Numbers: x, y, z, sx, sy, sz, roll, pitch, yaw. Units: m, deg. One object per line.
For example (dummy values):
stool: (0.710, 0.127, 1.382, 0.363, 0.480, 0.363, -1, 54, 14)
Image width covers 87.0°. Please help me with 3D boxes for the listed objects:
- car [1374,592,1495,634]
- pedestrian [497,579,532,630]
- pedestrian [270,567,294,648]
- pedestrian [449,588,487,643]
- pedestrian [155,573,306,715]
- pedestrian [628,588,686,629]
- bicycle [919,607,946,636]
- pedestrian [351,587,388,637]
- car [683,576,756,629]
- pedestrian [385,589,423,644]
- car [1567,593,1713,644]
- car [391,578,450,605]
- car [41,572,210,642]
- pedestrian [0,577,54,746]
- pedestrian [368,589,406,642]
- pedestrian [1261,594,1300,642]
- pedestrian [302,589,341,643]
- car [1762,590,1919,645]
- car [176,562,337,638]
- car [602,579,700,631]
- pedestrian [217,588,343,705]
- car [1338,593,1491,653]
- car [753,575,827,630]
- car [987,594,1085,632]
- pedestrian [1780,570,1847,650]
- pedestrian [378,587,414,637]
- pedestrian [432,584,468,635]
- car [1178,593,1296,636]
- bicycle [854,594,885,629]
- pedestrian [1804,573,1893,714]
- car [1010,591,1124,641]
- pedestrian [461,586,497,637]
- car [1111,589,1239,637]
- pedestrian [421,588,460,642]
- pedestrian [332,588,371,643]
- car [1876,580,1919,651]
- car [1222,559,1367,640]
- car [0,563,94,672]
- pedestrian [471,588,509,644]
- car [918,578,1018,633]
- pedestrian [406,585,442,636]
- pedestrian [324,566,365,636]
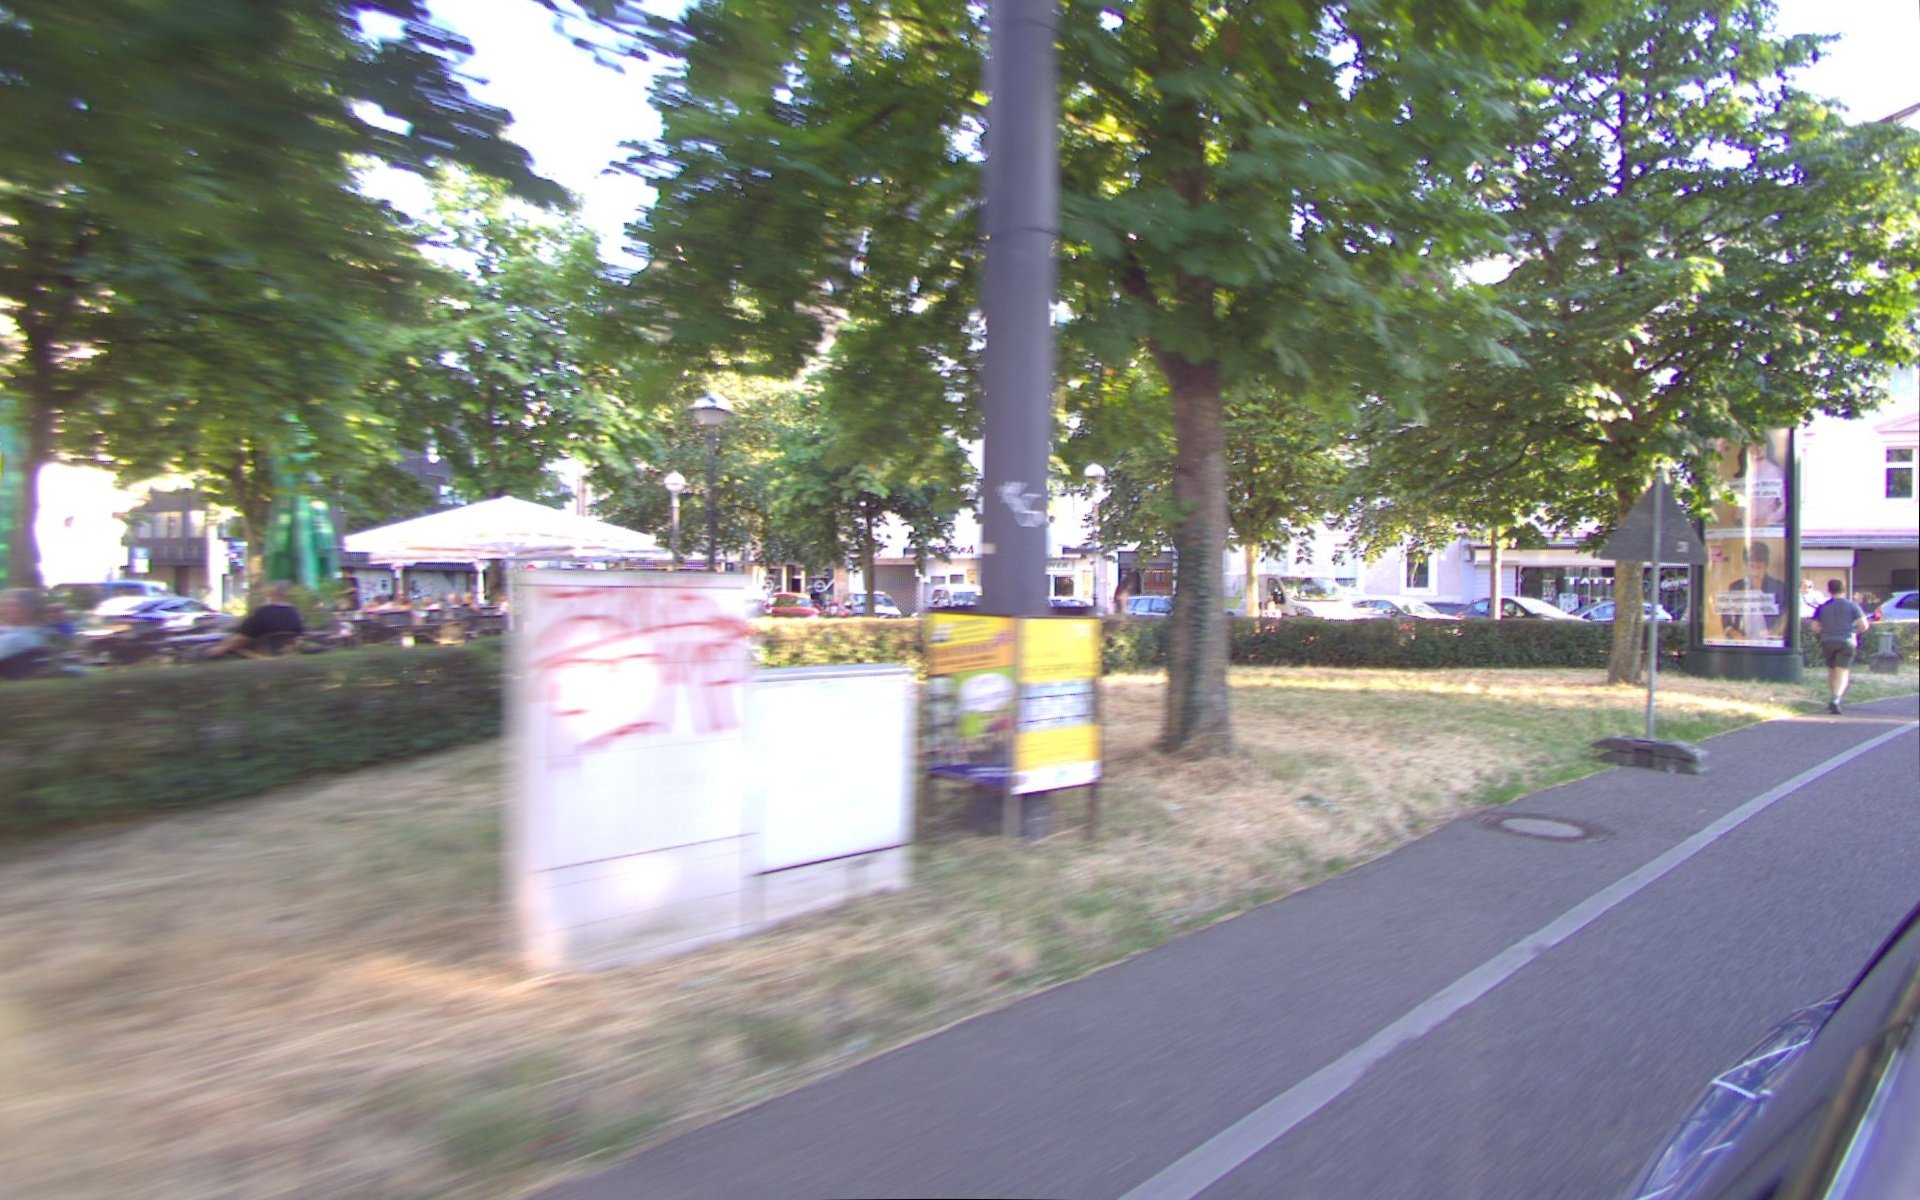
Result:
car: (18.186, 0.477, 38.969, 3.944, 1.511, 1.817, 0, 2, 17)
pedestrian: (-9.888, 0.098, 22.461, 0.486, 1.131, 0.555, 0, 0, 13)
pedestrian: (-14.384, 0.148, 21.469, 0.382, 1.706, 0.329, 0, 0, -41)
pedestrian: (-10.224, 0.314, 21.049, 0.486, 1.131, 0.555, 0, 0, 13)
pedestrian: (-7.348, 0.419, 10.225, 0.998, 1.372, 0.731, 0, 1, 6)
pedestrian: (-9.614, 0.254, 32.112, 1.030, 1.266, 1.430, 0, 0, 45)
bicycle: (-0.776, 0.611, 29.005, 0.440, 0.789, 1.269, 0, 1, 15)
pedestrian: (-13.514, 0.266, 23.155, 0.486, 1.131, 0.555, 0, 0, 13)
car: (-8.564, 0.081, 36.355, 1.875, 1.796, 4.002, 0, 0, -3)
pedestrian: (-11.579, 0.336, 21.084, 0.451, 1.131, 0.555, 0, 0, 13)
car: (24.668, 0.629, 36.889, 3.947, 1.660, 1.989, 0, 3, 18)
car: (-30.635, -0.491, 57.549, 1.847, 1.439, 3.557, 0, 1, -8)
car: (-25.615, 0.187, 31.306, 1.982, 1.988, 4.518, 0, 0, -8)
pedestrian: (-7.451, 0.451, 7.703, 0.601, 1.260, 0.568, 0, 0, 3)
pedestrian: (-12.222, 0.323, 21.587, 0.451, 1.131, 0.555, 0, 0, 13)
pedestrian: (8.576, 0.473, 27.022, 0.949, 1.241, 1.362, 0, 0, 19)
pedestrian: (-13.520, 0.329, 21.436, 0.451, 1.131, 0.529, 0, 0, 13)
car: (30.760, 0.567, 35.070, 4.171, 1.806, 1.923, 0, 1, 17)
car: (-20.192, -0.012, 29.324, 1.960, 2.039, 4.442, 0, 0, -6)
car: (-11.328, 0.179, 37.416, 1.882, 1.796, 3.988, 0, 0, 10)
pedestrian: (-7.599, 0.531, 11.332, 0.935, 1.259, 0.661, -1, -4, 6)
car: (13.097, 0.623, 29.433, 1.911, 1.624, 4.008, 0, 0, -17)
car: (-6.004, 0.095, 35.384, 1.872, 1.796, 4.008, 0, 0, -20)
car: (3.310, 0.520, 43.973, 3.947, 1.514, 1.942, 0, 2, 18)
pedestrian: (19.103, 0.220, 22.649, 0.957, 1.753, 0.728, 0, -1, -16)
pedestrian: (-12.840, 0.272, 23.046, 0.486, 1.131, 0.555, 0, 0, 13)
pedestrian: (-11.490, 0.217, 22.820, 0.486, 1.131, 0.555, 0, 0, 13)
car: (10.242, 0.509, 37.449, 4.106, 1.505, 1.926, 0, 0, 18)
bicycle: (-2.723, 0.327, 30.517, 0.321, 1.008, 1.464, 0, 1, 21)
pedestrian: (11.408, 0.545, 13.003, 0.630, 1.765, 0.590, 1, 0, -15)
car: (3.366, 0.483, 32.615, 1.958, 1.505, 4.007, 0, 0, -24)
pedestrian: (-10.729, 0.251, 22.596, 0.486, 1.131, 0.555, 0, 0, 13)
car: (6.625, 0.384, 31.634, 1.958, 1.416, 4.007, 0, 0, -24)
pedestrian: (-10.893, 0.307, 21.228, 0.486, 1.131, 0.555, 0, 0, 13)
pedestrian: (-12.853, 0.324, 21.386, 0.451, 1.131, 0.555, 0, 0, 13)
car: (25.484, 0.393, 24.349, 1.958, 1.794, 4.719, 0, 0, -21)
car: (10.021, -0.012, 30.808, 2.051, 2.269, 4.889, 0, 0, -11)
car: (-18.953, 0.330, 18.995, 1.960, 2.039, 4.442, 0, 0, -6)
pedestrian: (-9.657, 0.320, 20.805, 0.486, 1.131, 0.555, 0, 0, 13)
car: (0.199, 0.192, 34.018, 1.958, 1.727, 4.007, 0, 0, -22)
pedestrian: (-12.142, 0.231, 22.926, 0.486, 1.131, 0.555, 0, 0, 13)
pedestrian: (-14.359, 0.021, 23.609, 0.521, 1.599, 0.637, 0, 0, 13)
